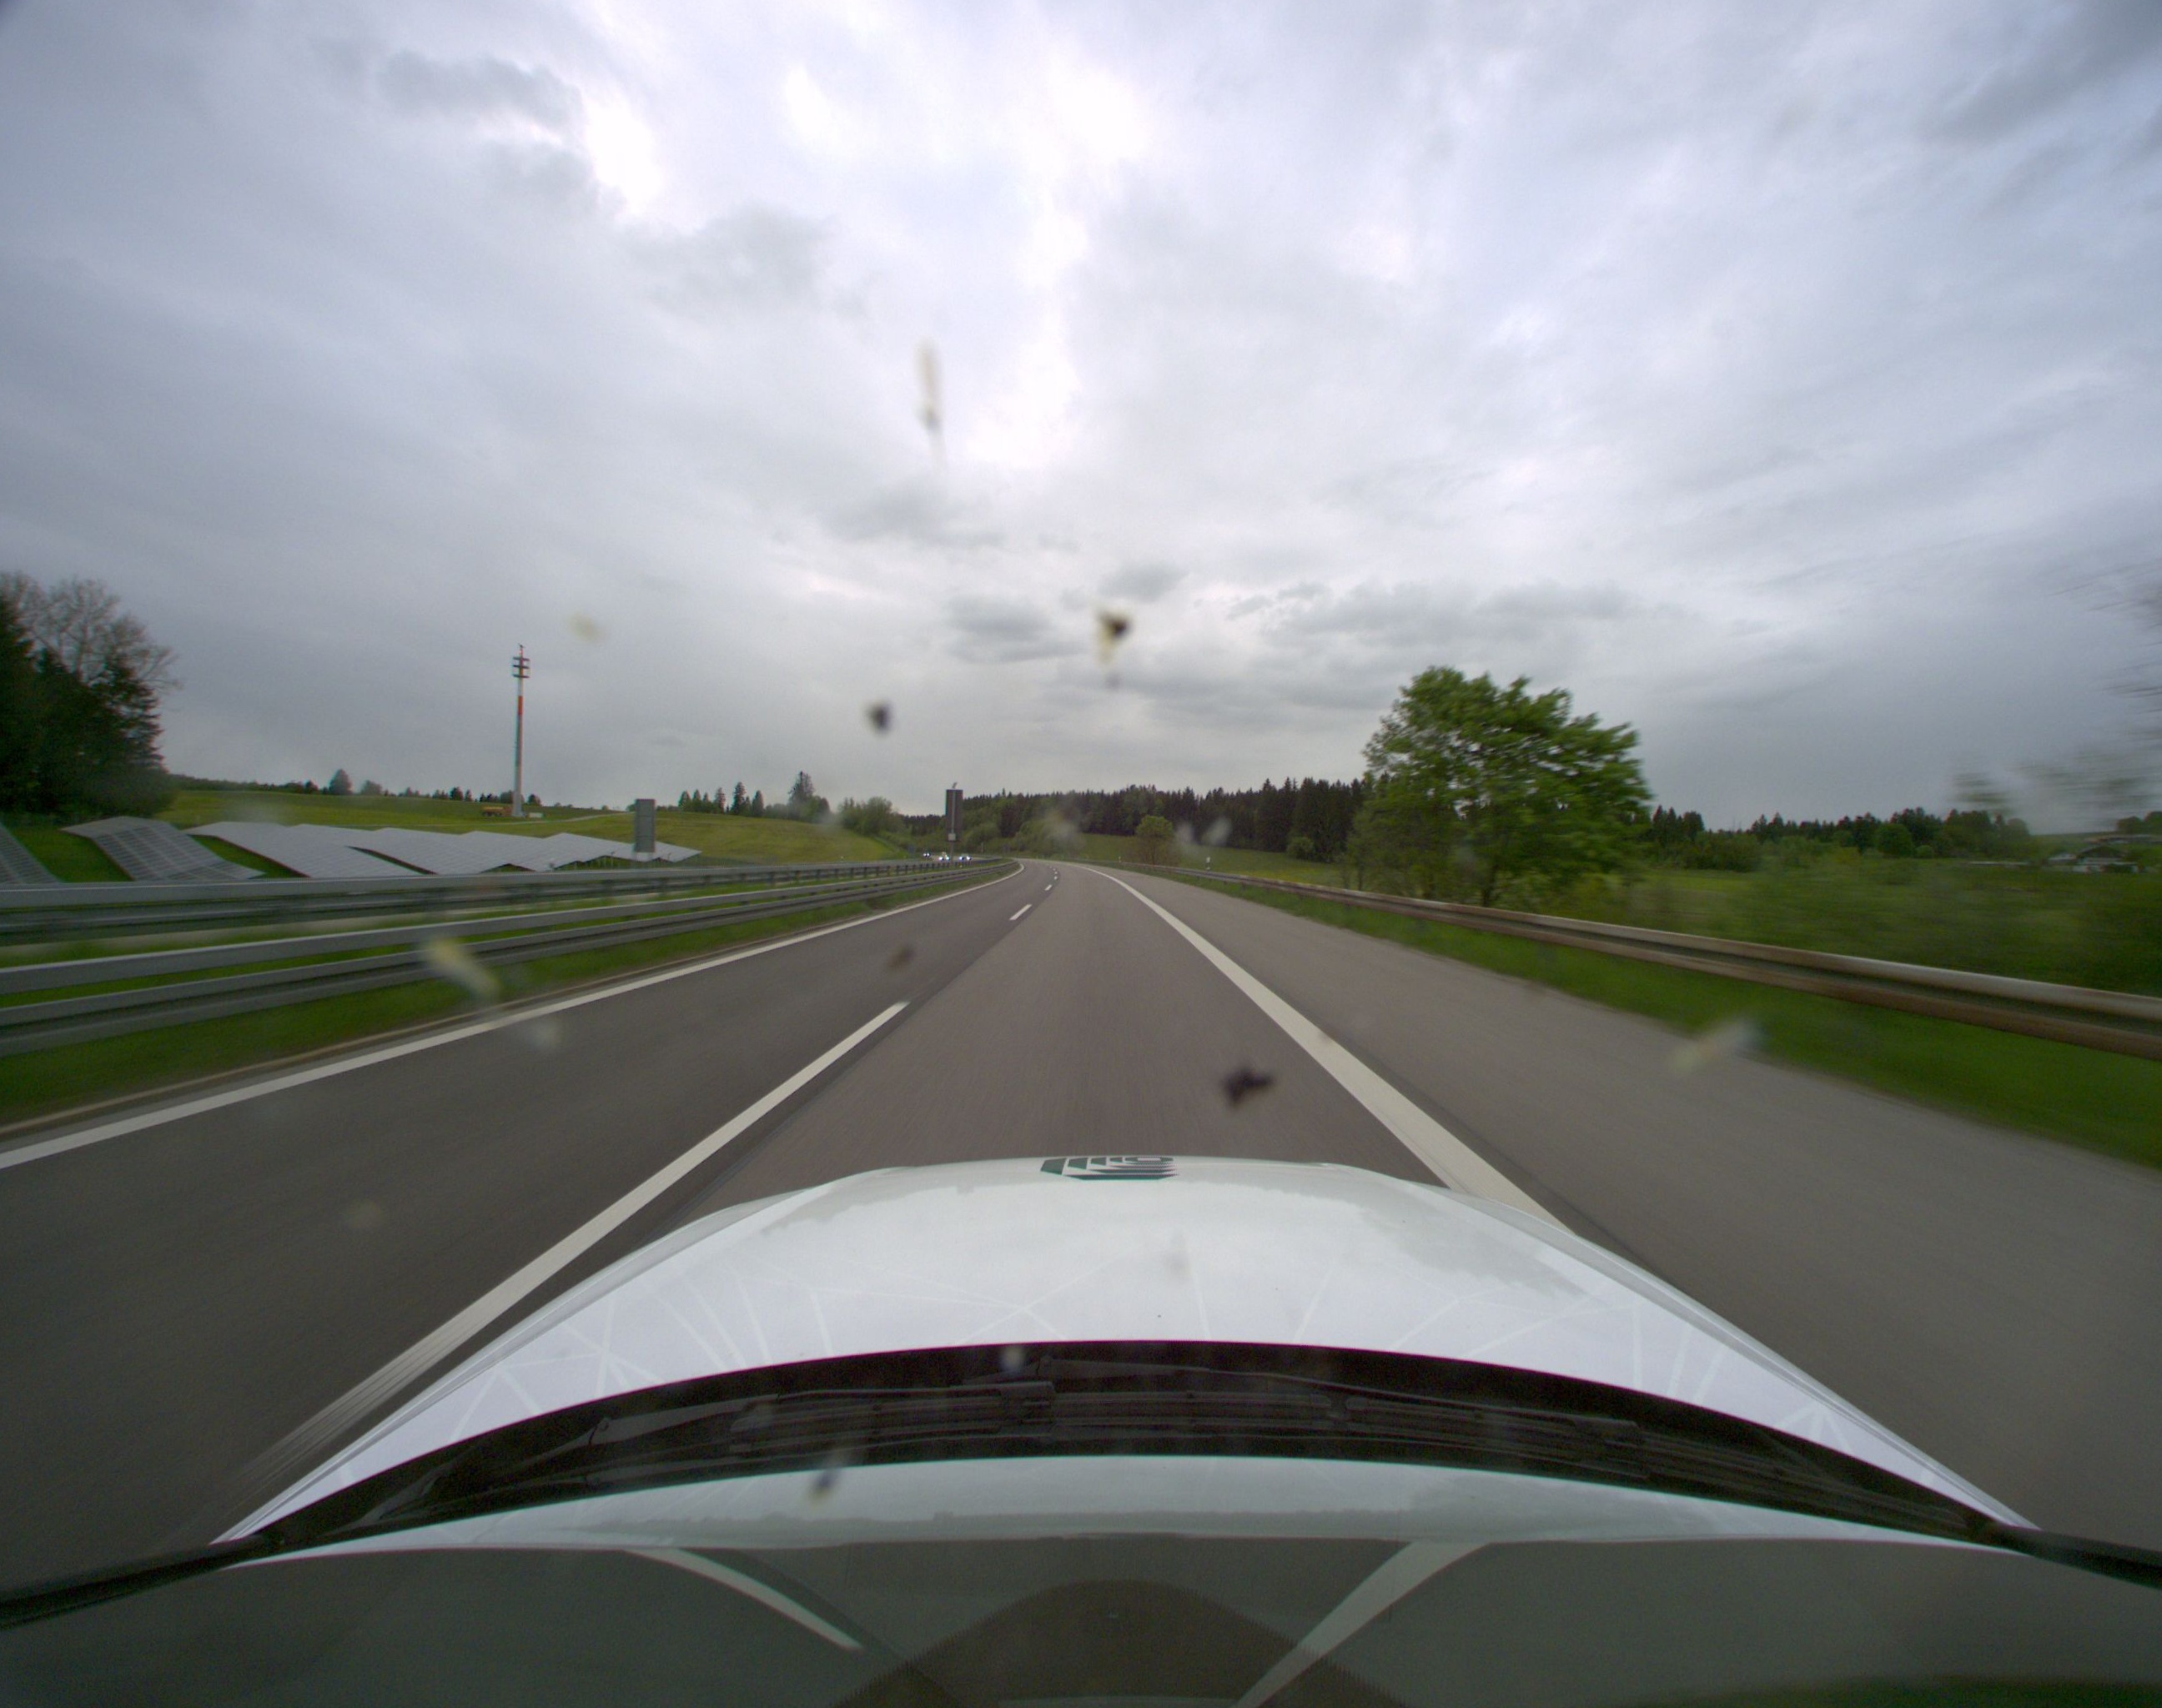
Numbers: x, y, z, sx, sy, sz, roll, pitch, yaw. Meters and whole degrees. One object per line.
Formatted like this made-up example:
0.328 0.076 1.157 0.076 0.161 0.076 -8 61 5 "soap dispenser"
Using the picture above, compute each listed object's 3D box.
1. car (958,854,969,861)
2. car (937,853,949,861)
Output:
-23.941 0.687 166.285 1.991 1.417 3.991 2 0 -6 "car"
-28.099 0.641 165.988 1.991 1.440 4.988 2 0 -7 "car"
